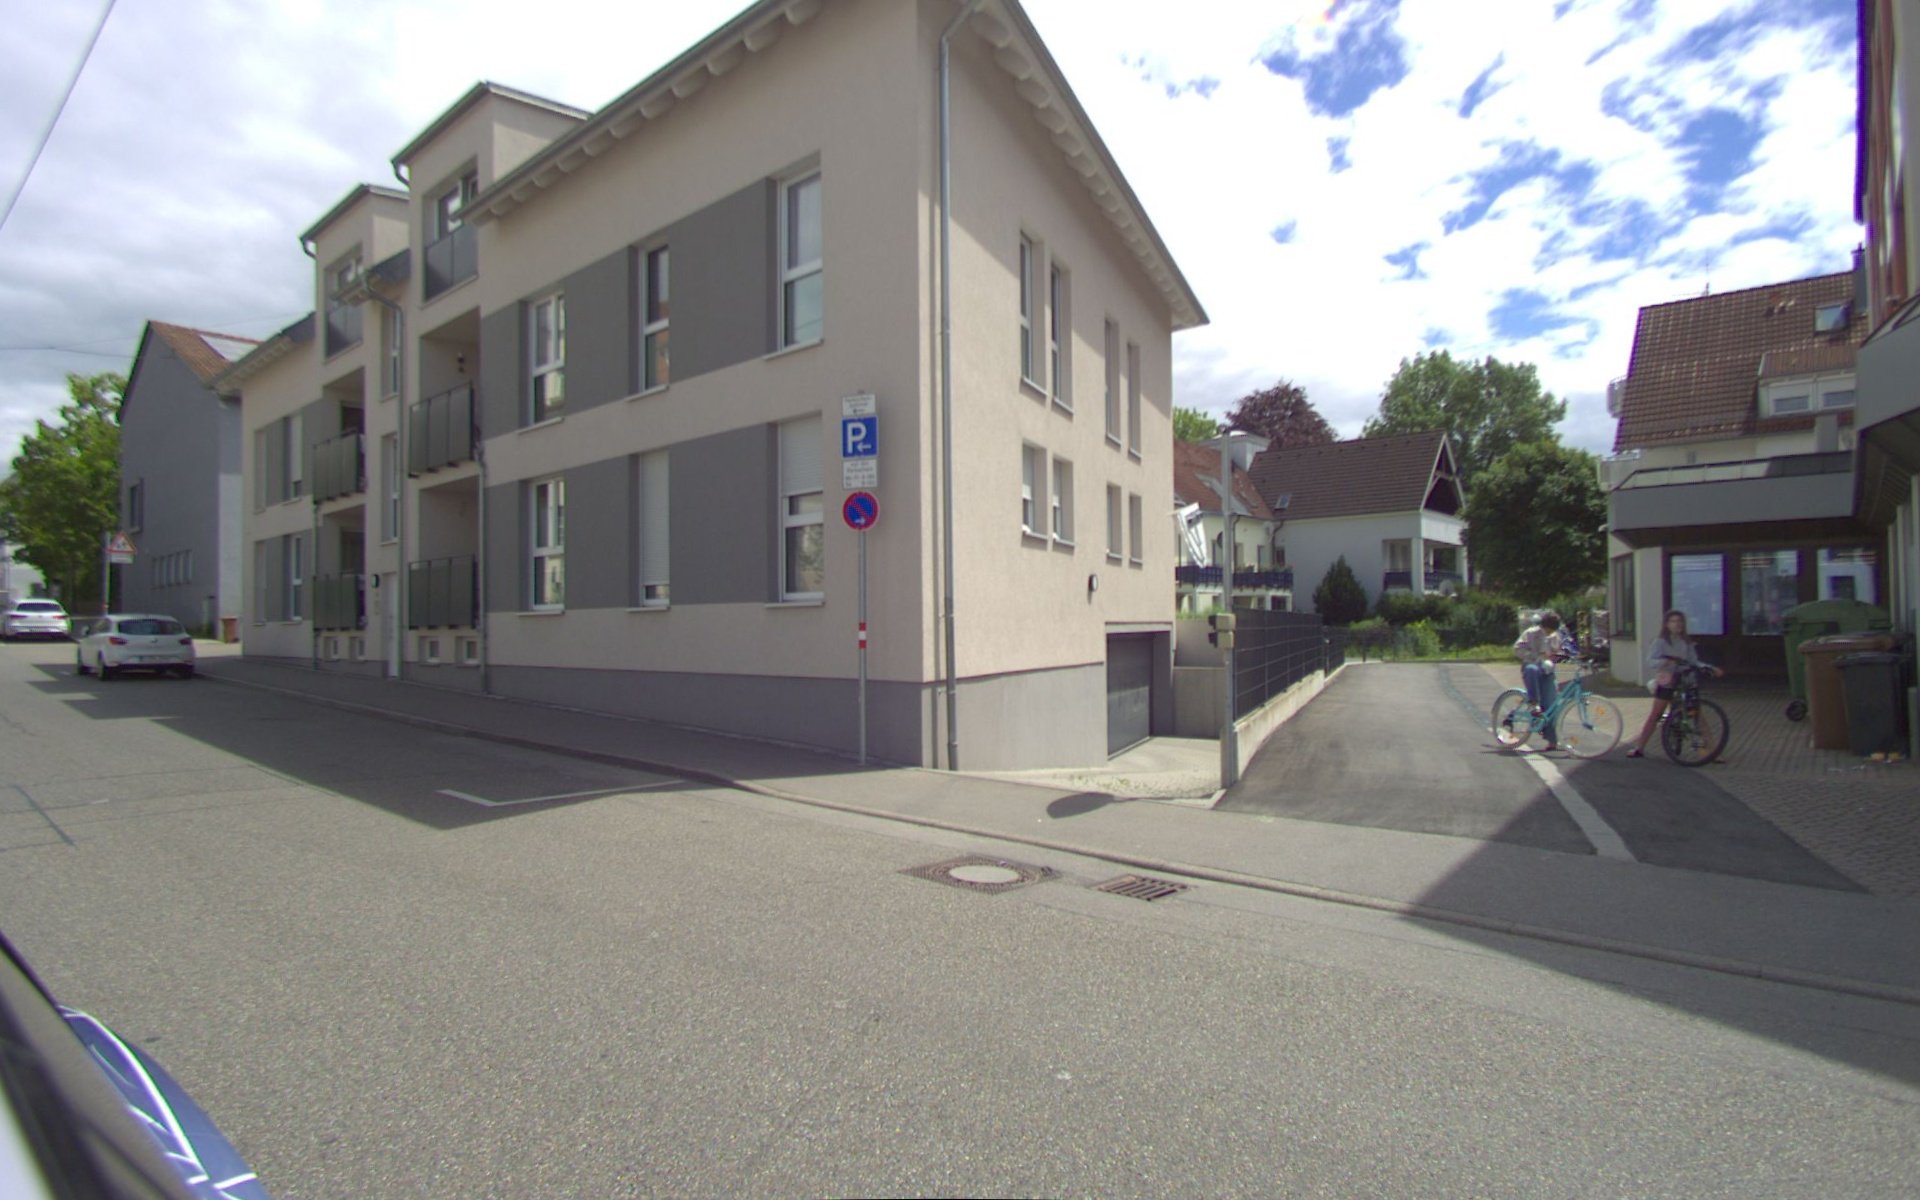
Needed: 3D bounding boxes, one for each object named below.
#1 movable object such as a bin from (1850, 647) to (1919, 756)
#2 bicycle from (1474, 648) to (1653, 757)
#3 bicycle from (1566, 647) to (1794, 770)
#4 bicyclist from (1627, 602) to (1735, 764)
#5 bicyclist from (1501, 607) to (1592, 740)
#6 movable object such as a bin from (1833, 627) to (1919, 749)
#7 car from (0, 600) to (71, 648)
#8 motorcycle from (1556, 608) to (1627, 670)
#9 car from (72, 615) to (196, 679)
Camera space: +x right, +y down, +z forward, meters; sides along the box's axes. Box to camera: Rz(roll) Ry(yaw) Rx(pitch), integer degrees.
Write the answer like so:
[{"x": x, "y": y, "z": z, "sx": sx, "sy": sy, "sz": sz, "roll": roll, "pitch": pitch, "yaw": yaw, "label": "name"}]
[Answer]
[{"x": 8.202, "y": 0.890, "z": 8.941, "sx": 0.443, "sy": 0.918, "sz": 0.403, "roll": -5, "pitch": -3, "yaw": 41, "label": "movable object such as a bin"}, {"x": 5.718, "y": 0.939, "z": 9.705, "sx": 0.451, "sy": 0.924, "sz": 1.593, "roll": -1, "pitch": -2, "yaw": -13, "label": "bicycle"}, {"x": 6.403, "y": 0.920, "z": 9.122, "sx": 0.546, "sy": 0.961, "sz": 1.695, "roll": -1, "pitch": -2, "yaw": -13, "label": "bicycle"}, {"x": 6.412, "y": 0.724, "z": 9.010, "sx": 0.579, "sy": 1.376, "sz": 0.426, "roll": -2, "pitch": -3, "yaw": -14, "label": "bicyclist"}, {"x": 5.674, "y": 0.691, "z": 9.800, "sx": 0.631, "sy": 1.251, "sz": 0.428, "roll": 0, "pitch": -1, "yaw": -16, "label": "bicyclist"}, {"x": 8.650, "y": 0.803, "z": 9.412, "sx": 0.737, "sy": 1.073, "sz": 0.677, "roll": -5, "pitch": -3, "yaw": 41, "label": "movable object such as a bin"}, {"x": -32.187, "y": 0.794, "z": 34.955, "sx": 4.066, "sy": 1.499, "sz": 1.714, "roll": 1, "pitch": -1, "yaw": 42, "label": "car"}, {"x": 16.737, "y": 1.003, "z": 26.776, "sx": 0.860, "sy": 1.530, "sz": 3.567, "roll": -2, "pitch": -2, "yaw": 44, "label": "motorcycle"}, {"x": -18.800, "y": 1.039, "z": 22.993, "sx": 3.472, "sy": 1.340, "sz": 1.644, "roll": -2, "pitch": -2, "yaw": 42, "label": "car"}]
